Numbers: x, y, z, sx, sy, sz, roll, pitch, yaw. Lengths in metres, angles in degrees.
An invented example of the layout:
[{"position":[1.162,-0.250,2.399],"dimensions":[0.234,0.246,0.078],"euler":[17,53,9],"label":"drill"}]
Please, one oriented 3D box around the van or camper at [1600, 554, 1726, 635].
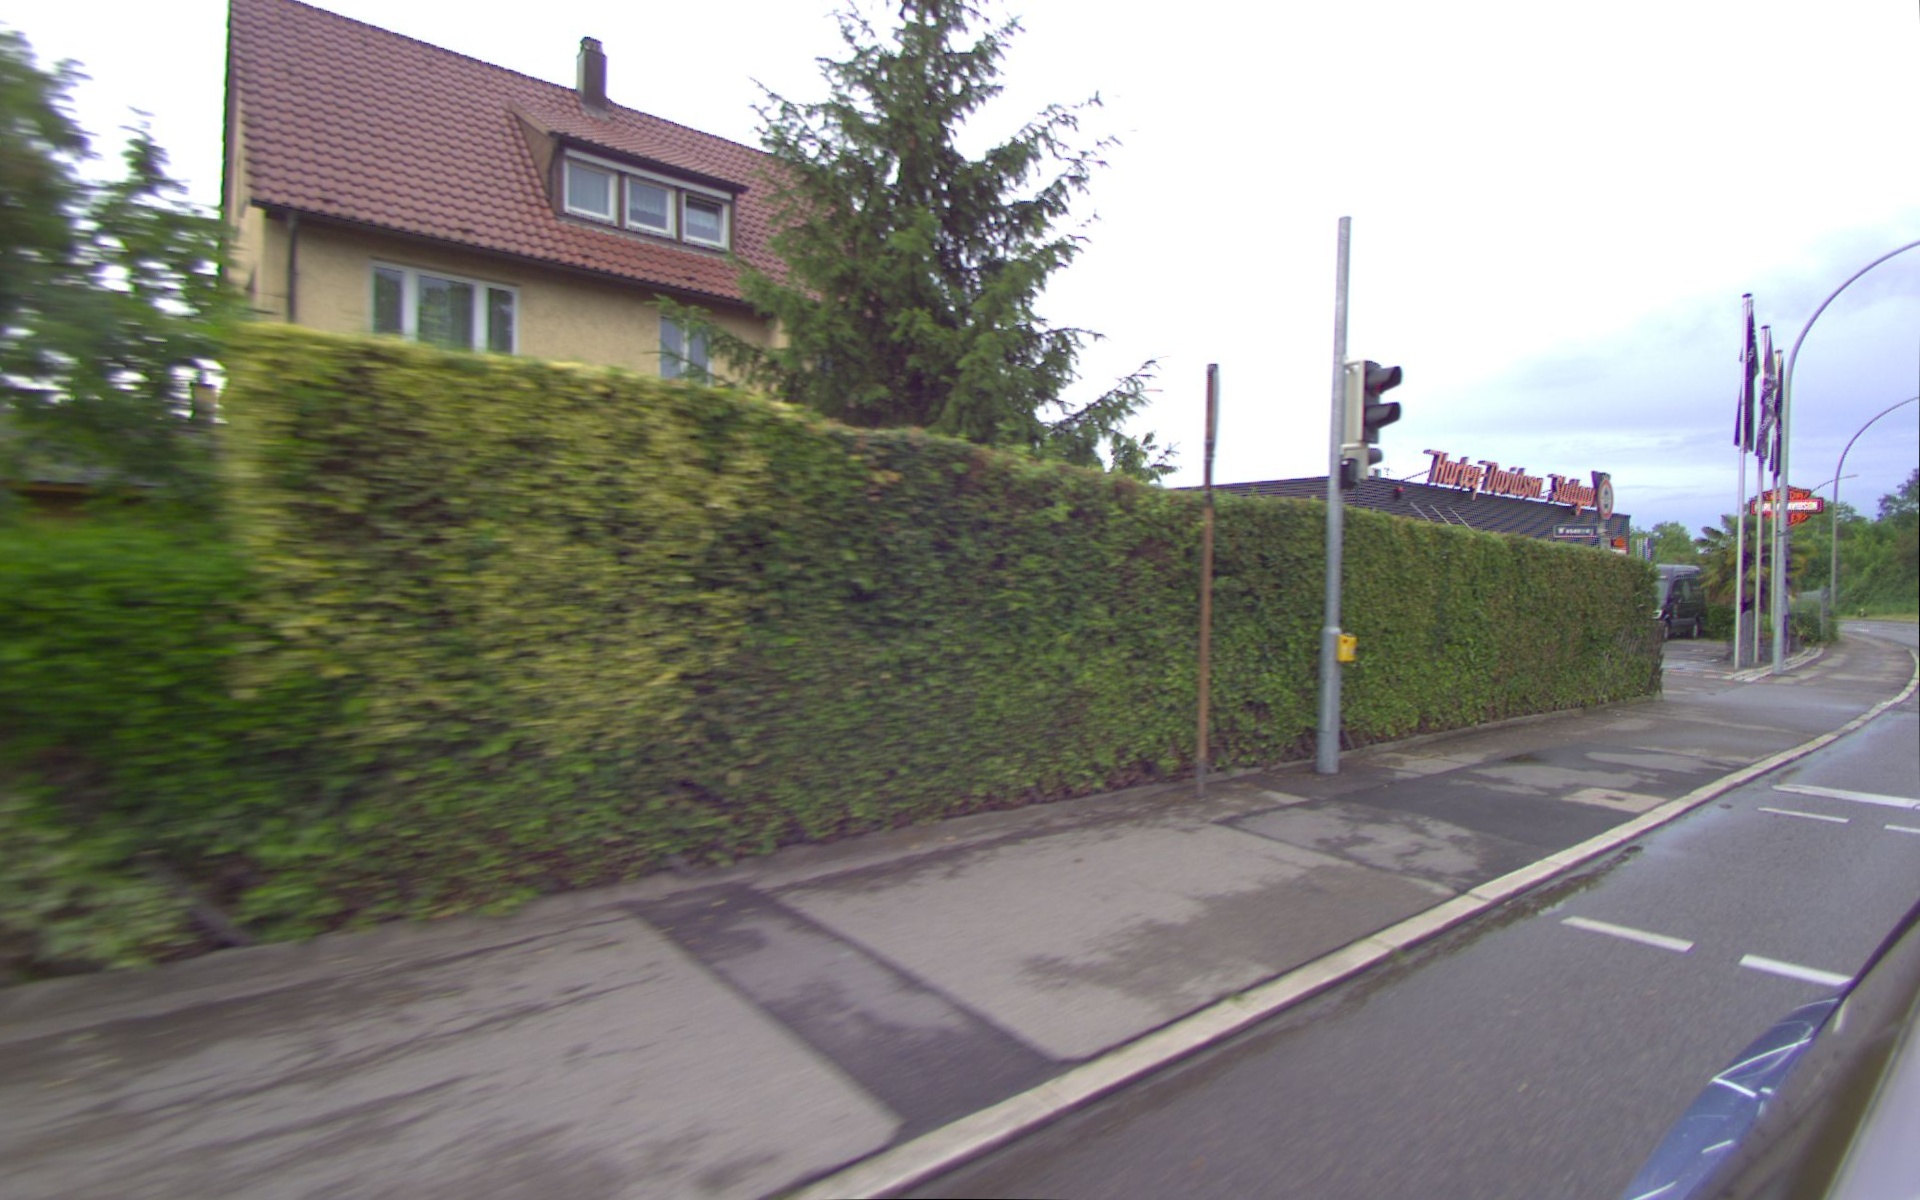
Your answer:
[{"position":[24.748,-0.187,35.506],"dimensions":[6.473,2.626,2.045],"euler":[0,1,-41],"label":"van or camper"}]
